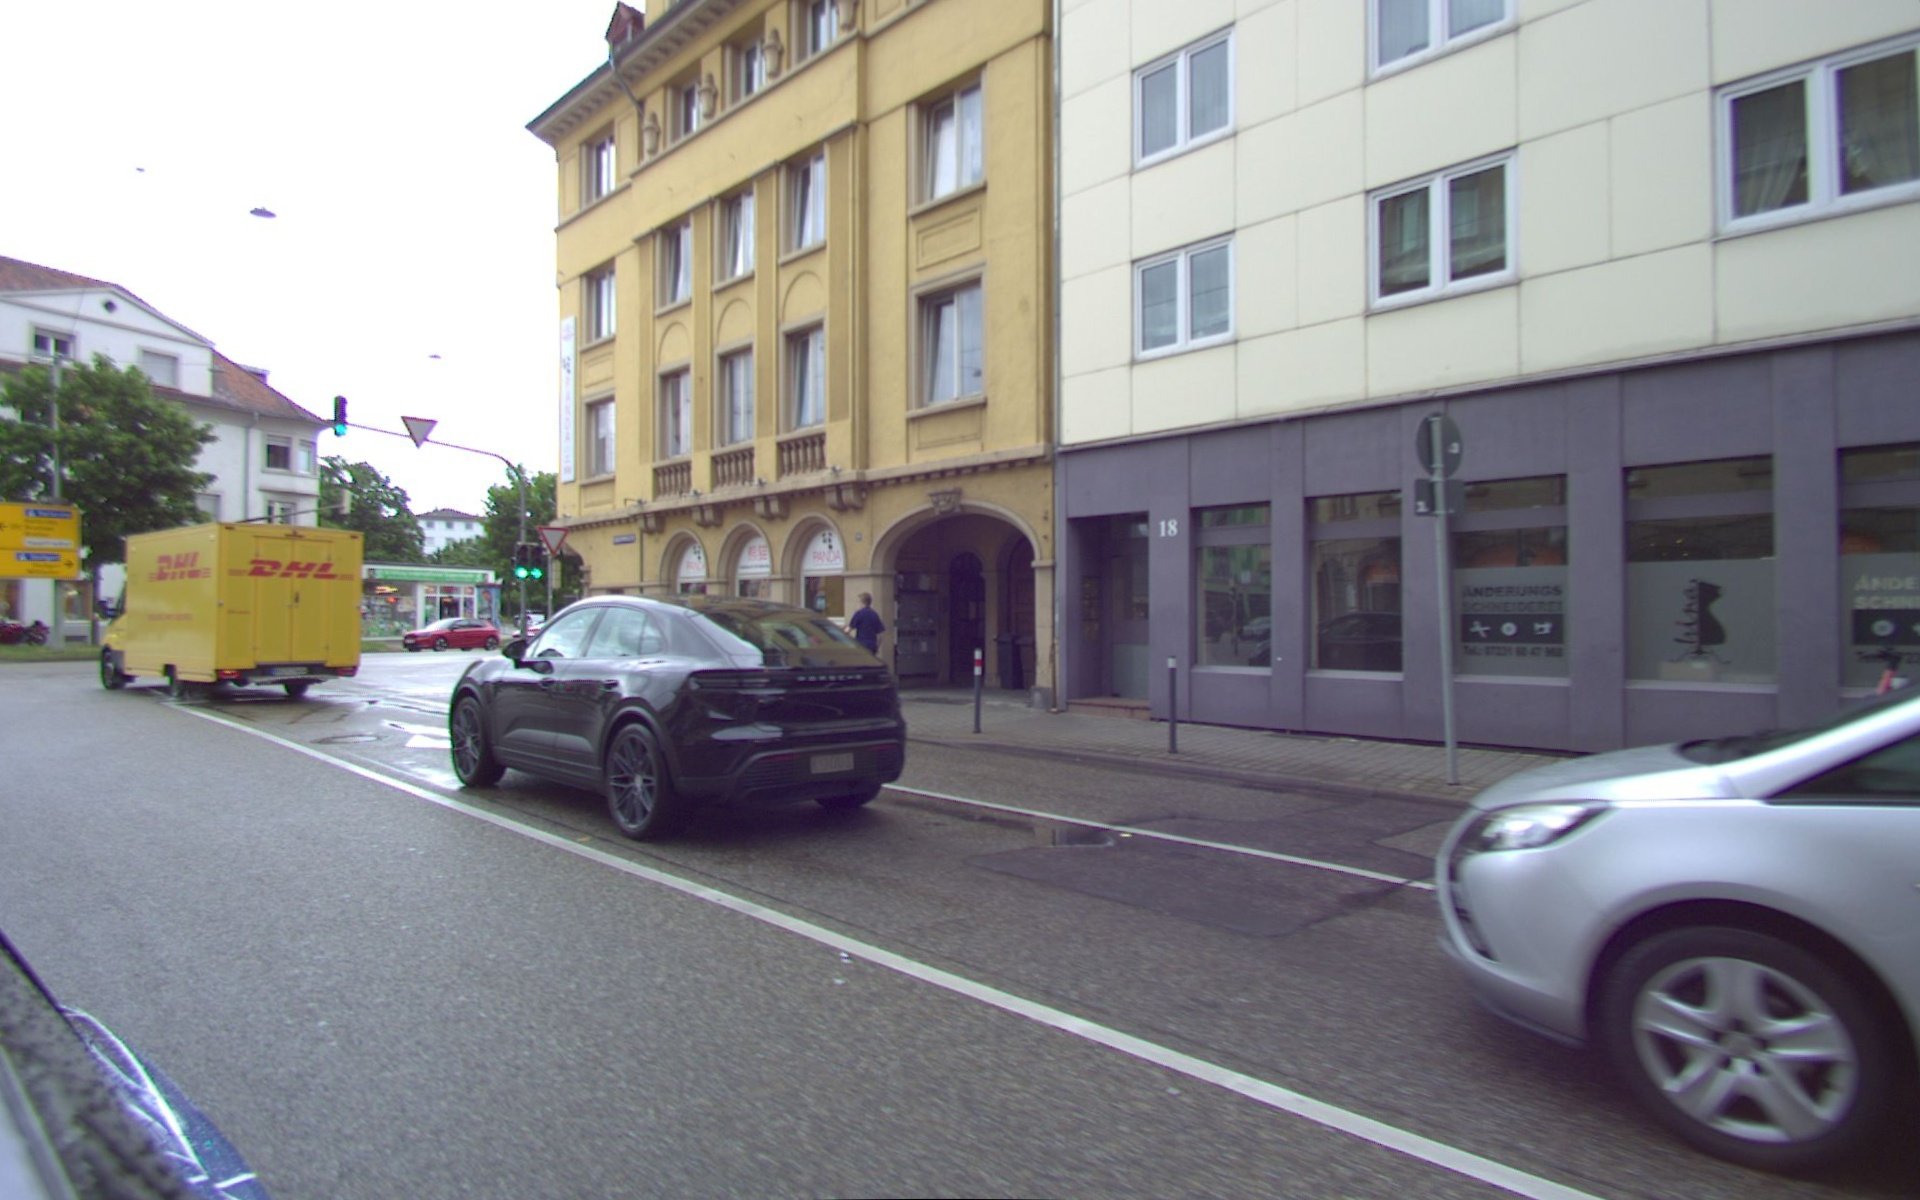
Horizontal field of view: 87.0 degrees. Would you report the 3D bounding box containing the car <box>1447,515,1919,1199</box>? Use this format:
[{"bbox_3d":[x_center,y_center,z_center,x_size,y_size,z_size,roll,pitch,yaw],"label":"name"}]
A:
[{"bbox_3d":[3.781,0.617,2.247,4.521,1.595,1.921,0,-2,43],"label":"car"}]

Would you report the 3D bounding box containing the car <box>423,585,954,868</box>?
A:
[{"bbox_3d":[-2.375,0.752,8.015,4.606,1.595,1.921,0,-2,43],"label":"car"}]

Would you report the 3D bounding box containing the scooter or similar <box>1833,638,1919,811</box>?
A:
[{"bbox_3d":[7.384,0.922,7.340,1.578,1.222,0.456,0,2,43],"label":"scooter or similar"}]

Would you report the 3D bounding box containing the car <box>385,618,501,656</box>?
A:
[{"bbox_3d":[-21.916,1.553,43.022,2.013,1.529,4.004,0,-2,25],"label":"car"}]

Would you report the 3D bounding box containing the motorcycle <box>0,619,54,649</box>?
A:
[{"bbox_3d":[-37.485,1.341,40.268,0.715,1.157,1.995,0,-2,26],"label":"motorcycle"}]

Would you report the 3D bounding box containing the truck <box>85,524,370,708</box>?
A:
[{"bbox_3d":[-13.423,0.279,18.310,7.013,2.771,2.207,0,-2,37],"label":"truck"}]

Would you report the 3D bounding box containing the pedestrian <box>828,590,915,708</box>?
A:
[{"bbox_3d":[-1.416,0.748,16.185,1.032,1.784,0.883,-1,2,42],"label":"pedestrian"}]

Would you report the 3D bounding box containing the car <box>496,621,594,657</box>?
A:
[{"bbox_3d":[-19.588,1.836,47.939,2.013,1.596,4.004,0,-2,25],"label":"car"}]
